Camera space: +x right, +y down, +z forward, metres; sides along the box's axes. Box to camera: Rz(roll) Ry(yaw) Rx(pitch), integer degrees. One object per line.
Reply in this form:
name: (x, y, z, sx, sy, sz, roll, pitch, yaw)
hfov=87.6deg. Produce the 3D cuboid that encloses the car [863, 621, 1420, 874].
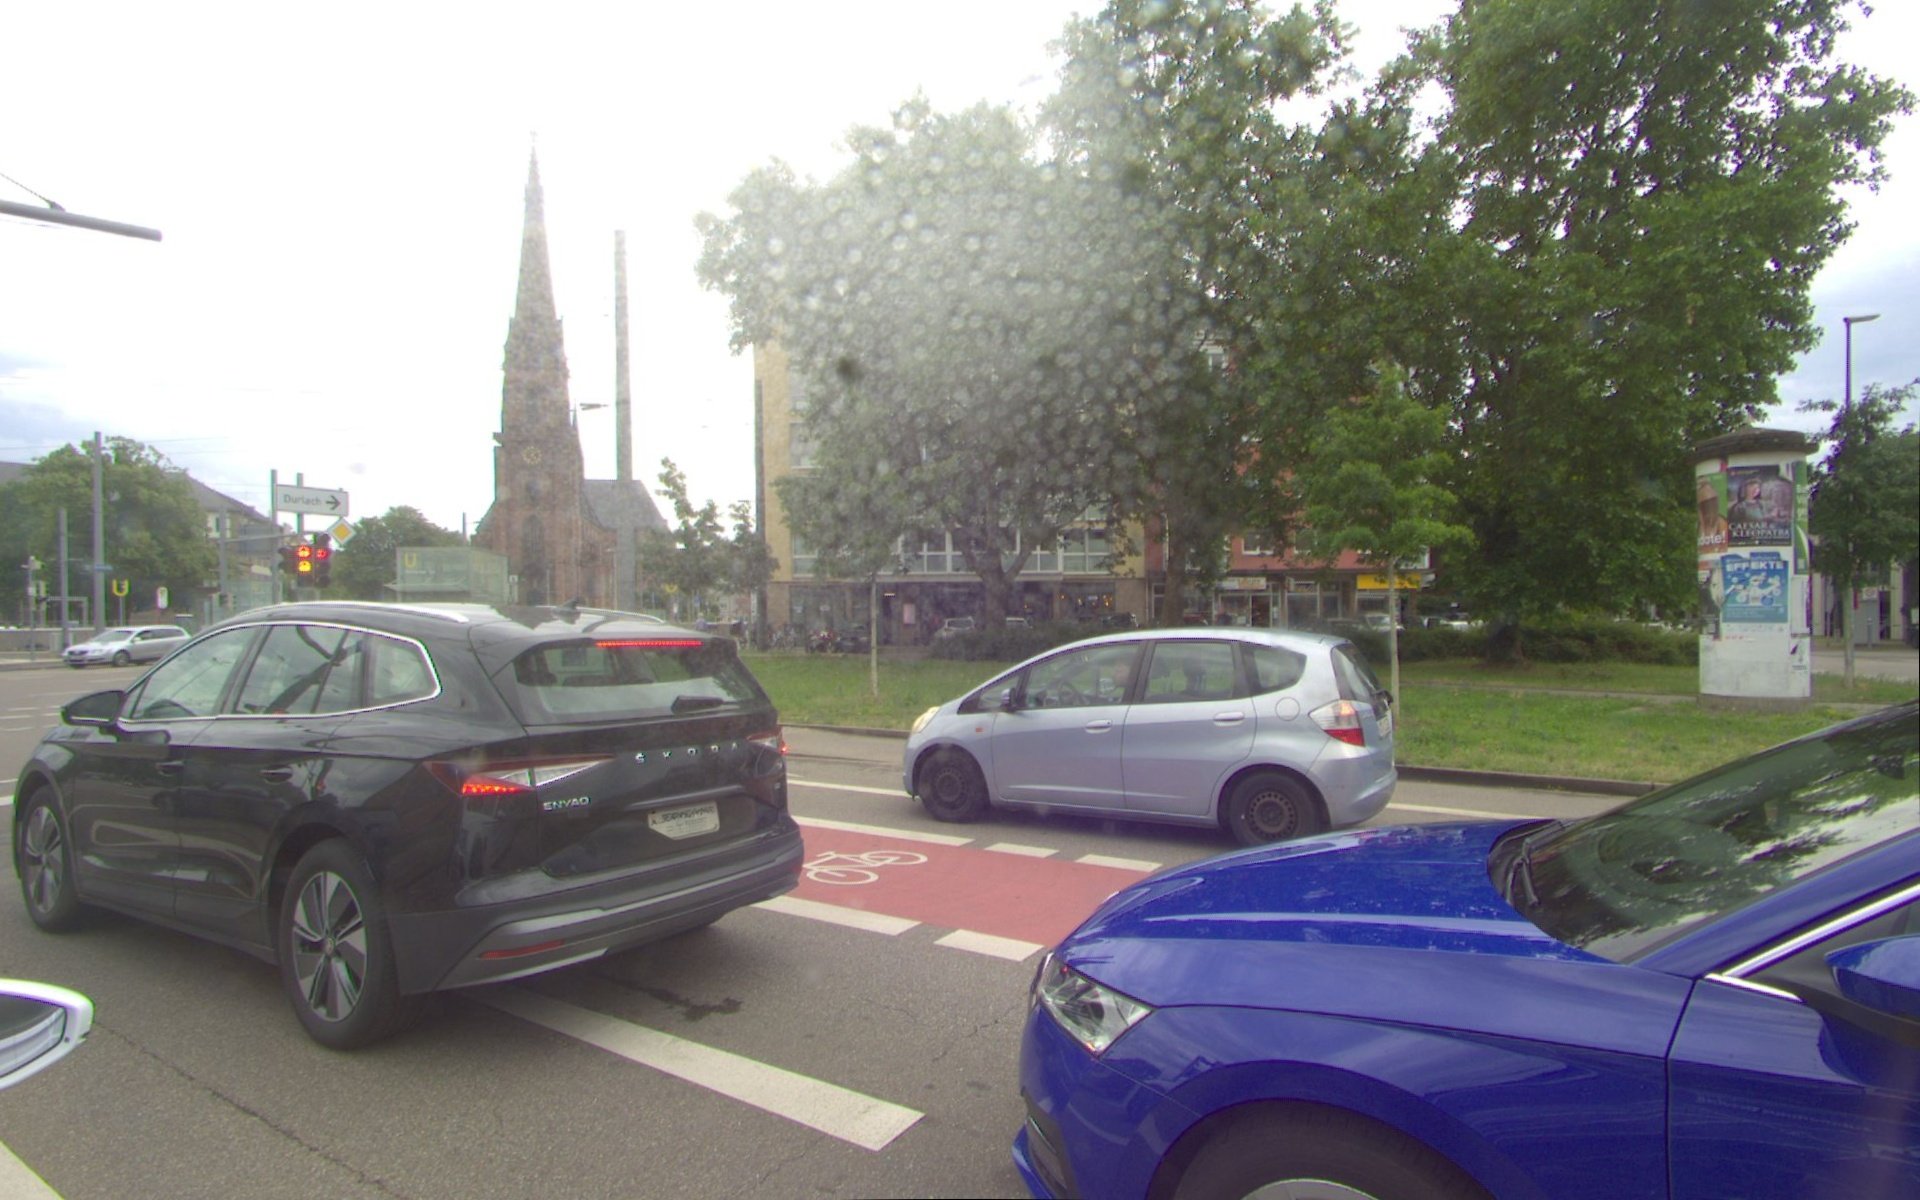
car: (1.324, 0.931, 7.692, 3.875, 1.502, 1.703, -1, -2, 31)

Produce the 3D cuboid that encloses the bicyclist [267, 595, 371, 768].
bicyclist: (-6.643, 0.811, 10.388, 0.794, 1.713, 0.614, 0, 0, 30)

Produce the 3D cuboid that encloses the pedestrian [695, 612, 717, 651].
pedestrian: (-11.551, 1.430, 45.591, 0.797, 1.760, 0.906, 0, 1, -2)

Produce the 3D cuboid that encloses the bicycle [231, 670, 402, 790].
bicycle: (-6.741, 1.309, 10.456, 2.094, 1.069, 0.624, 0, 0, 31)

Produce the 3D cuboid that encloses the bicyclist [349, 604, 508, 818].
bicyclist: (-4.376, 0.875, 8.265, 0.919, 1.639, 0.788, -1, -2, 31)

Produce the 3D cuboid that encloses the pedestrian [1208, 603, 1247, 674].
pedestrian: (7.036, 1.002, 26.383, 0.881, 1.843, 0.866, 0, 1, 8)

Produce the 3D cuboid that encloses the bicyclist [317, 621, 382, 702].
bicyclist: (-11.920, 1.180, 19.574, 0.659, 1.542, 0.886, 0, 0, 12)

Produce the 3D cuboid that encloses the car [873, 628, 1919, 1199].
car: (2.253, 0.777, 1.613, 4.689, 1.454, 1.762, -1, -2, 33)

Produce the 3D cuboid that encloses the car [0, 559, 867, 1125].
car: (-2.815, 0.754, 4.936, 4.448, 1.680, 1.900, -1, 0, 31)

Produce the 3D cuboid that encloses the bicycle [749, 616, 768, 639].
bicycle: (-10.714, 1.455, 53.260, 0.657, 1.184, 2.040, 0, 0, -3)

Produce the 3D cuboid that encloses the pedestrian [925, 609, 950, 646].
pedestrian: (-1.100, 1.366, 49.570, 1.032, 1.780, 0.786, -1, 1, -22)

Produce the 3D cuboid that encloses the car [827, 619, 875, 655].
car: (-4.925, 1.642, 45.847, 1.806, 1.462, 4.166, -1, 0, -1)

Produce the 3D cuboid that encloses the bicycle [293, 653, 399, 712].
bicycle: (-11.921, 1.580, 19.508, 0.590, 1.011, 1.945, 0, -1, 12)

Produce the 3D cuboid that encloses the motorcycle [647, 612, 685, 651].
motorcycle: (-10.993, 1.166, 37.503, 1.027, 1.384, 2.291, -1, 0, -9)

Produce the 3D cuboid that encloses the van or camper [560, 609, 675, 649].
van or camper: (-18.348, 1.500, 53.784, 5.404, 2.004, 2.155, 0, -1, -39)

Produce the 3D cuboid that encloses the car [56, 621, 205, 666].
car: (-31.506, 1.613, 38.254, 1.692, 1.502, 4.627, 0, 0, 2)

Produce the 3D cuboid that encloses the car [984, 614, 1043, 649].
car: (2.454, 1.447, 47.011, 1.962, 1.461, 3.997, -1, 0, -9)

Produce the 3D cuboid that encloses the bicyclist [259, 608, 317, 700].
bicyclist: (-13.368, 1.068, 19.941, 0.574, 1.775, 0.734, 0, 2, 6)

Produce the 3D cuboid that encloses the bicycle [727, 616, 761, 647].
bicycle: (-10.212, 1.491, 47.471, 0.886, 1.395, 2.784, 0, 0, 2)

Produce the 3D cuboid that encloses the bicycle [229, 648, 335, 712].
bicycle: (-13.380, 1.558, 19.841, 0.568, 1.012, 1.991, -1, 3, 5)

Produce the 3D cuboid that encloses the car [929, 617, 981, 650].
car: (-0.301, 1.527, 46.679, 1.962, 1.483, 3.999, 0, -1, -7)
